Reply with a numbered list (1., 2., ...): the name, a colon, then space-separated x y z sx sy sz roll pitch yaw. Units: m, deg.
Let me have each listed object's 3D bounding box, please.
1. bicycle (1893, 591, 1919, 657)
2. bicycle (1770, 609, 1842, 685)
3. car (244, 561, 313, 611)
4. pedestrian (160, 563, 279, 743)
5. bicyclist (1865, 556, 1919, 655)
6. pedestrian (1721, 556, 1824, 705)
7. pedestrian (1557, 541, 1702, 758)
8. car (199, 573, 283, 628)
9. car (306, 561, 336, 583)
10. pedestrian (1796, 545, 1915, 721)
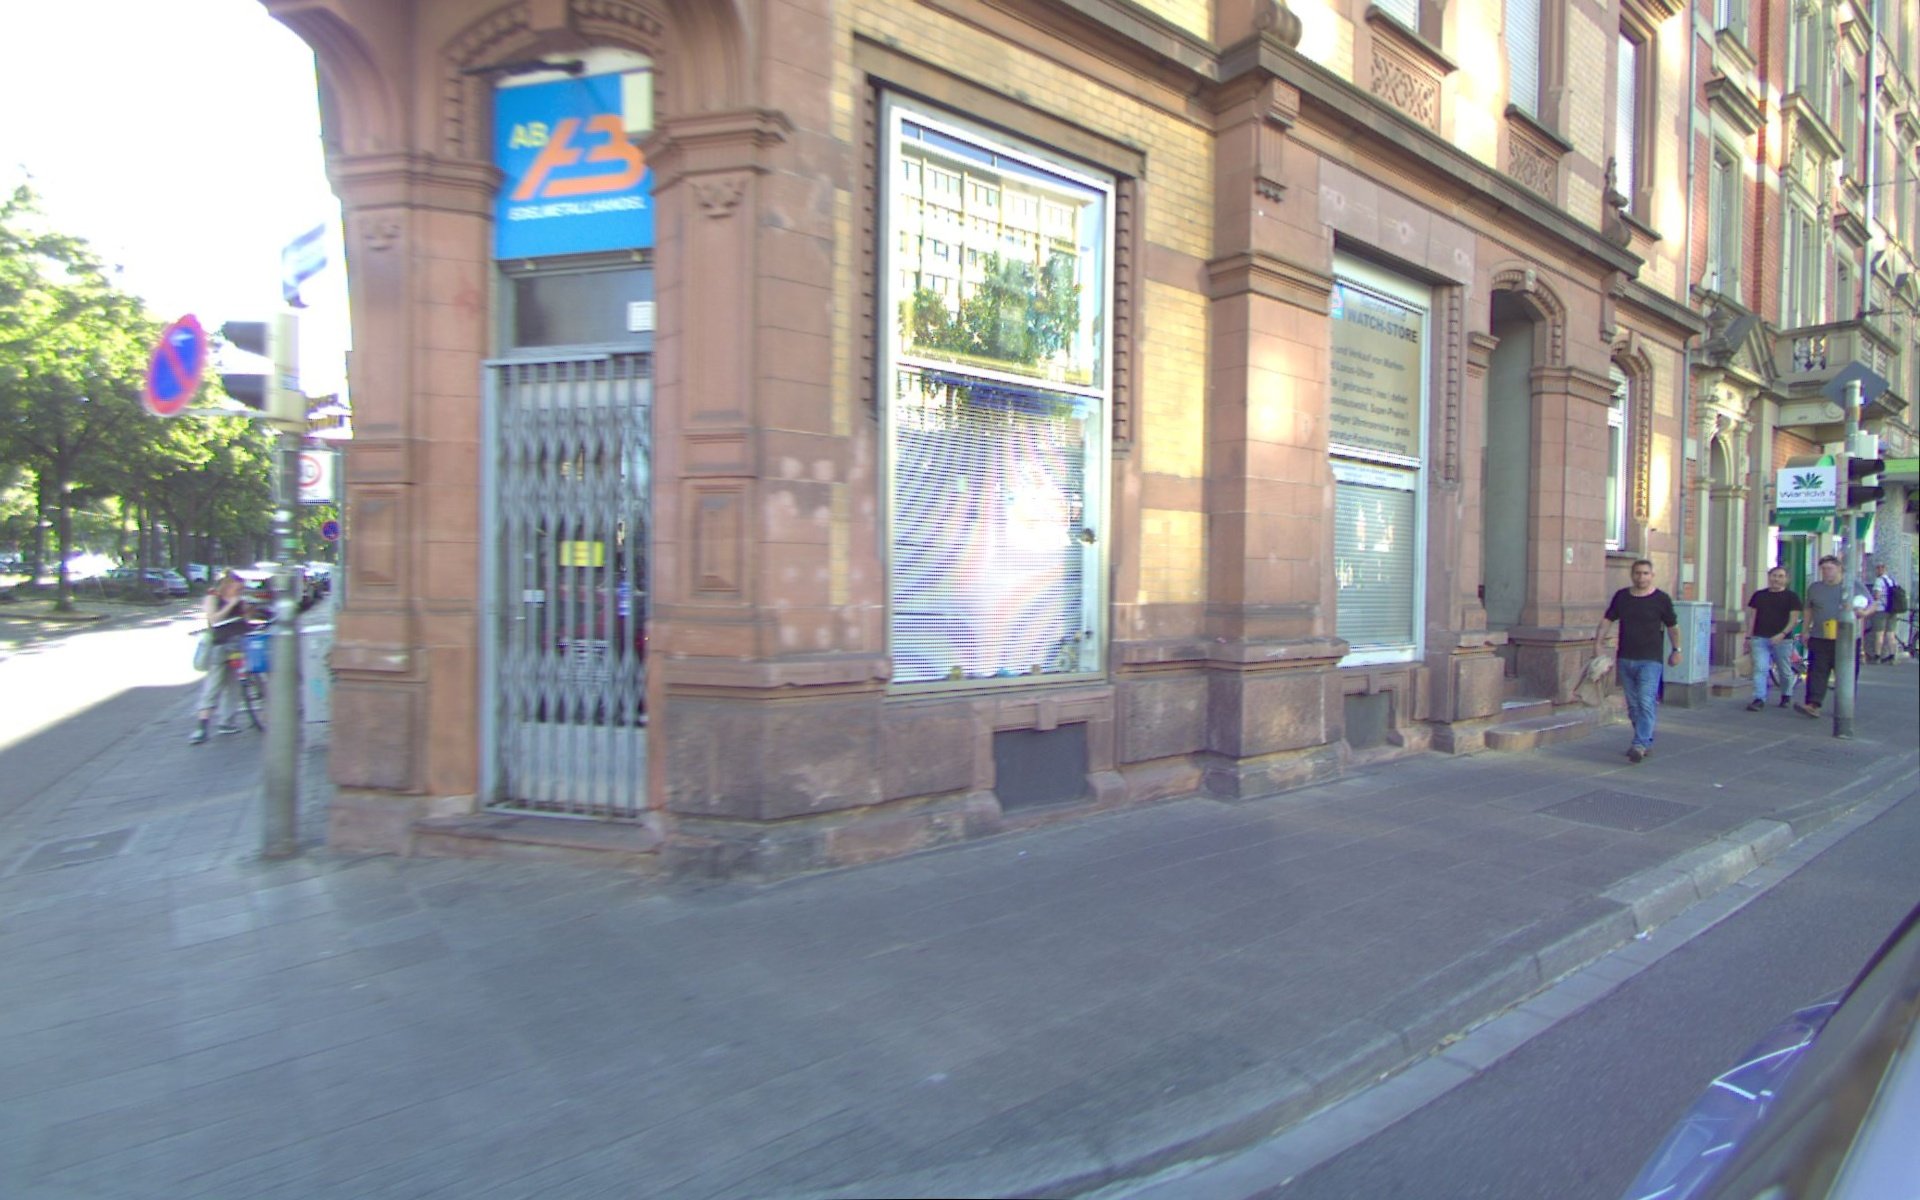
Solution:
1. bicycle: 18.930 0.470 19.623 0.661 1.269 1.879 1 2 25
2. bicycle: 12.026 0.652 14.378 1.215 1.008 0.346 0 2 -29
3. car: -27.048 -0.582 40.276 1.937 1.841 3.987 2 0 -30
4. pedestrian: -7.066 0.476 9.706 0.749 1.589 0.745 -5 3 -32
5. bicyclist: 18.333 0.097 19.896 0.594 1.905 0.737 1 1 26
6. pedestrian: 9.993 0.339 12.448 0.740 1.744 0.778 0 3 -38
7. pedestrian: 5.739 0.380 8.688 0.740 1.744 0.778 0 3 -38
8. car: -21.633 -0.018 30.561 1.663 1.533 3.584 2 0 -29
9. car: -48.044 -2.110 76.087 1.663 1.533 3.584 2 0 -29
10. pedestrian: 10.242 0.338 11.585 0.740 1.917 0.824 0 3 -38
